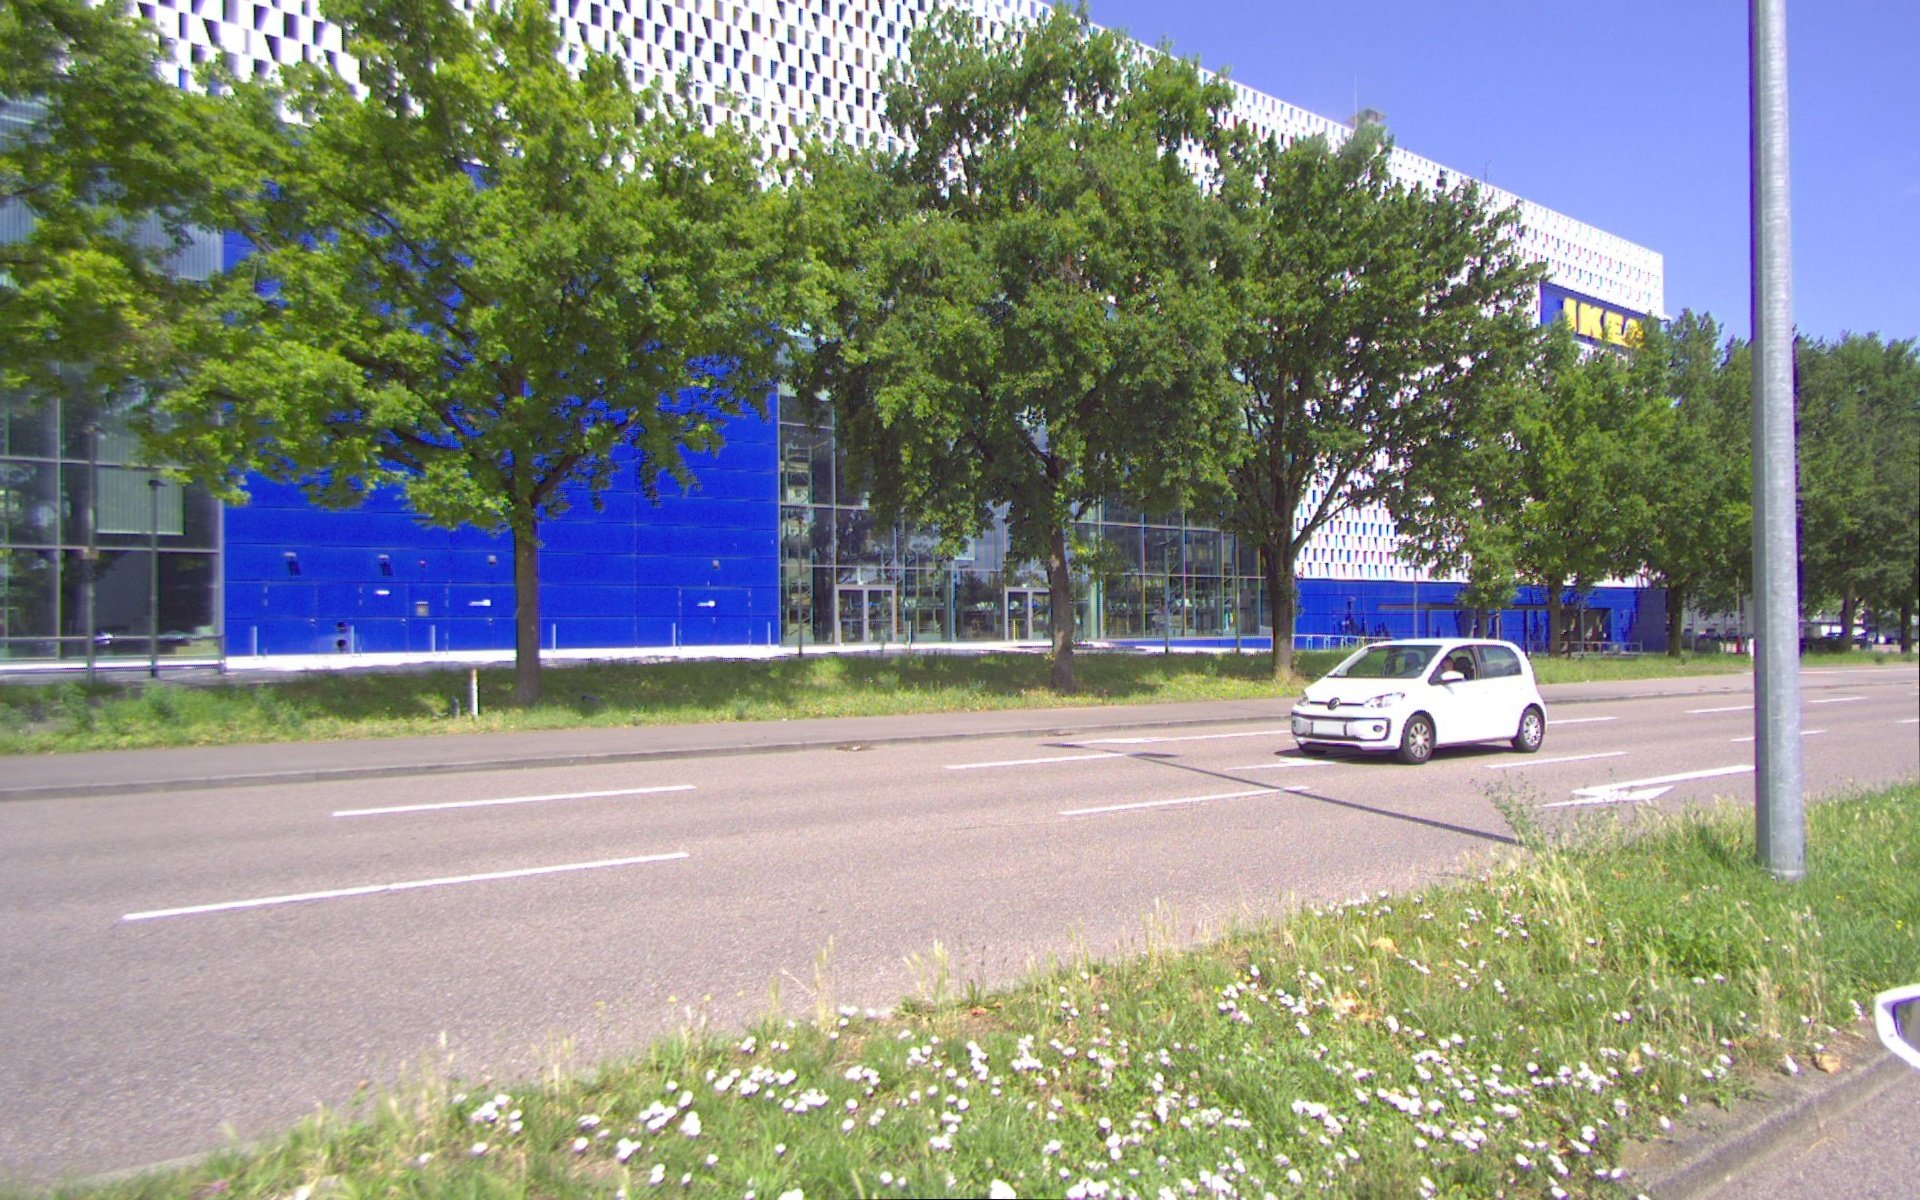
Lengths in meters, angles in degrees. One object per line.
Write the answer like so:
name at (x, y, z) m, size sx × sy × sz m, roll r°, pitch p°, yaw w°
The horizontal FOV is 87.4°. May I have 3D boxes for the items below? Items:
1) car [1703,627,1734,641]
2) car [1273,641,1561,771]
car at (87.834, 3.944, 116.296) m, size 3.660 × 1.506 × 1.718 m, roll 0°, pitch -1°, yaw -32°
car at (5.913, 1.260, 12.915) m, size 3.630 × 1.447 × 1.635 m, roll 1°, pitch -3°, yaw -32°
